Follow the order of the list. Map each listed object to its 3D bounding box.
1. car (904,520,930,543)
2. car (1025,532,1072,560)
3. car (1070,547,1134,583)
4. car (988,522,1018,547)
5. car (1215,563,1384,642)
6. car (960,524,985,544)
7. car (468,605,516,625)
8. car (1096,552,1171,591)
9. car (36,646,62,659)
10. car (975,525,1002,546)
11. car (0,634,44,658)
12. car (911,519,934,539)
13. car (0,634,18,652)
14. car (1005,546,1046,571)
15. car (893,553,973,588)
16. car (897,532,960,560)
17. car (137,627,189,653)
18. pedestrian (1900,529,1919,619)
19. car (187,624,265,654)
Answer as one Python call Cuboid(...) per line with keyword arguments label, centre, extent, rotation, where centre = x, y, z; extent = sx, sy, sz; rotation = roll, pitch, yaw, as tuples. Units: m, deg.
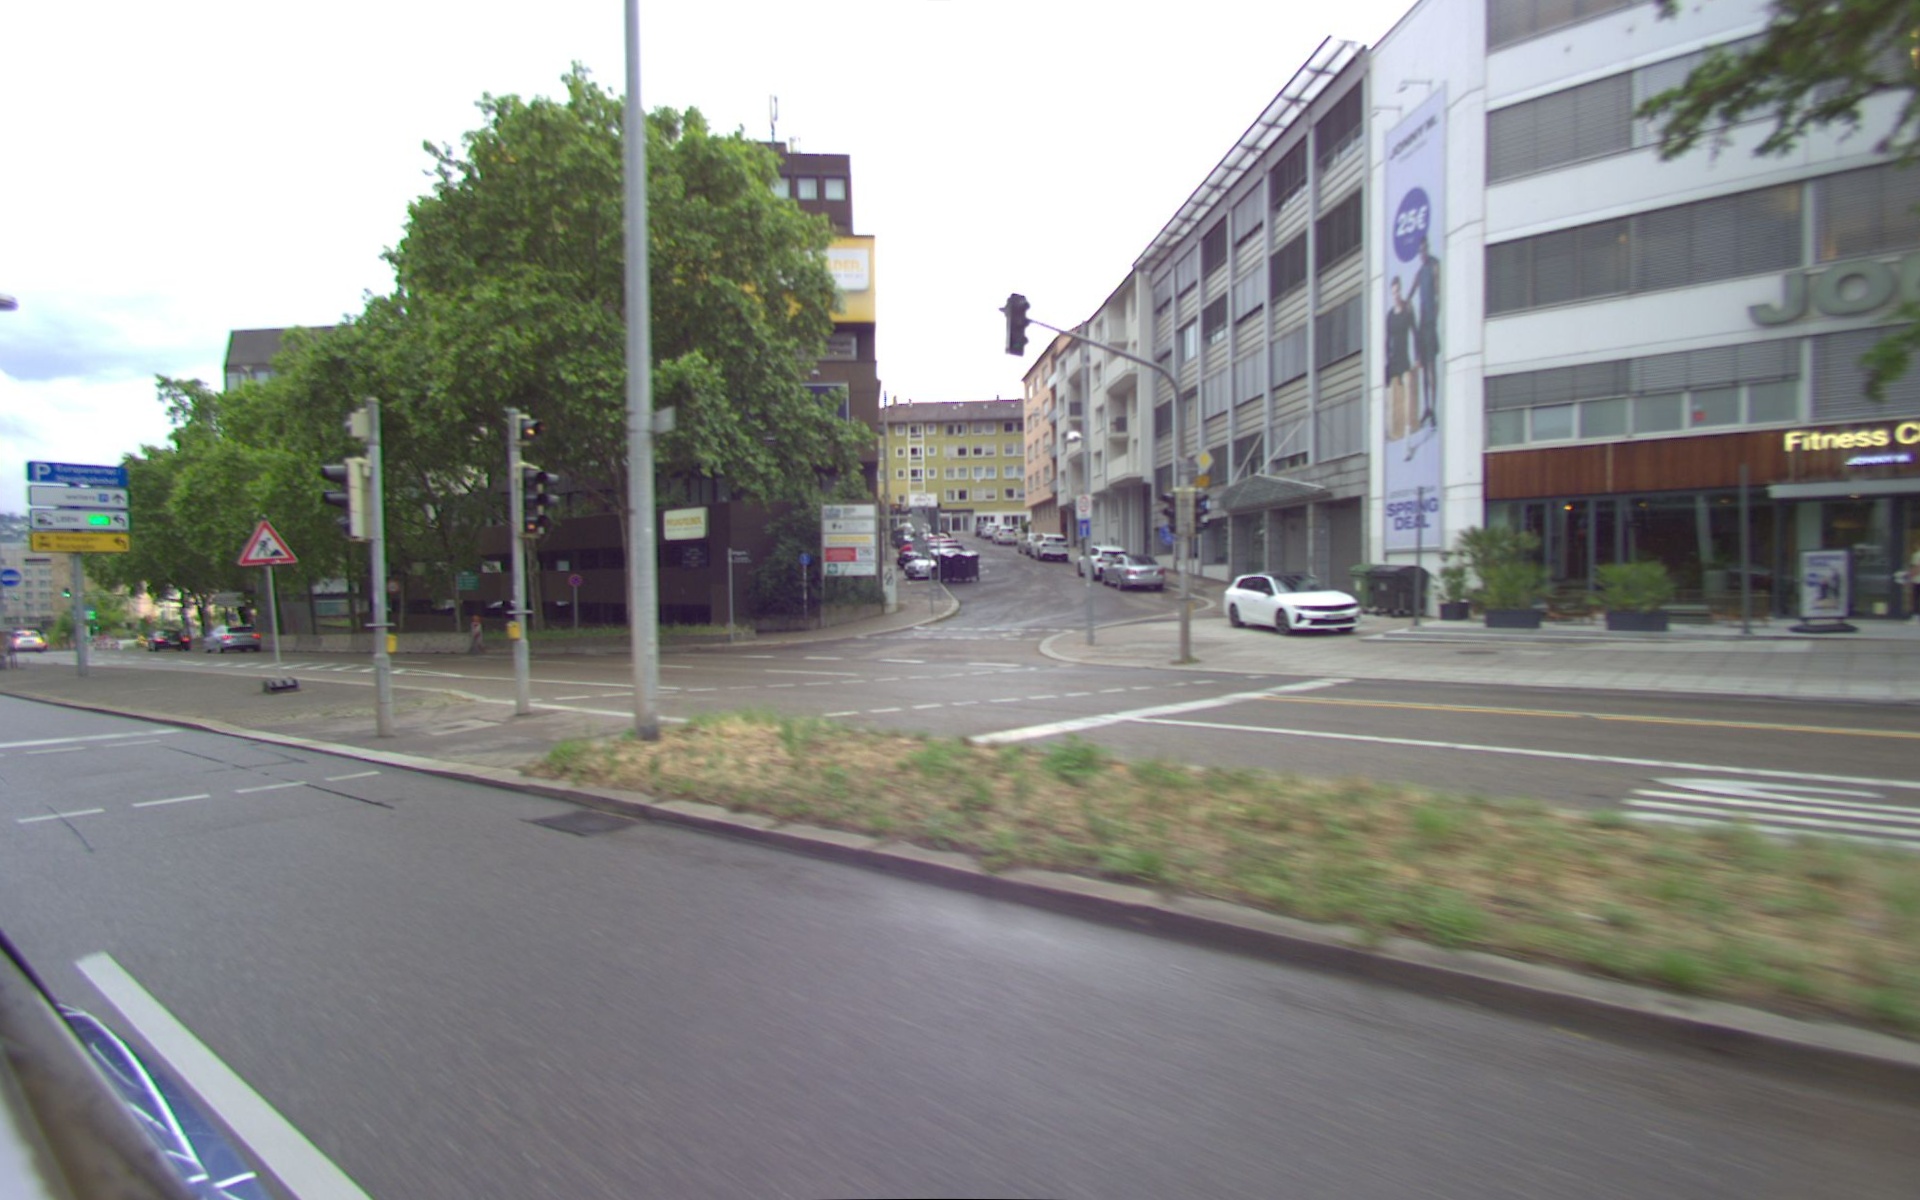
Cuboid(label="car", centre=(-3.366, -5.385, 79.094), extent=(1.793, 1.696, 4.006), rotation=(-1, 4, -5))
Cuboid(label="car", centre=(5.457, -3.348, 63.012), extent=(1.969, 1.586, 4.495), rotation=(-3, 3, -6))
Cuboid(label="car", centre=(6.840, -1.728, 49.278), extent=(1.969, 1.586, 4.495), rotation=(-3, 3, -6))
Cuboid(label="car", centre=(3.527, -5.430, 83.660), extent=(1.970, 2.028, 4.006), rotation=(-1, 4, -5))
Cuboid(label="car", centre=(8.335, -0.035, 25.401), extent=(1.968, 1.665, 4.854), rotation=(-3, 3, -9))
Cuboid(label="car", centre=(1.205, -6.363, 96.648), extent=(1.970, 1.829, 4.006), rotation=(-1, 4, -5))
Cuboid(label="car", centre=(-43.405, 1.416, 93.931), extent=(3.931, 1.730, 2.006), rotation=(-2, -1, -23))
Cuboid(label="car", centre=(7.400, -1.258, 43.610), extent=(1.969, 1.476, 4.495), rotation=(-3, 3, -6))
Cuboid(label="car", centre=(-109.584, 6.275, 121.763), extent=(4.506, 1.447, 1.912), rotation=(-3, -2, 43))
Cuboid(label="car", centre=(2.536, -5.888, 91.867), extent=(1.970, 1.829, 4.006), rotation=(-1, 4, -5))
Cuboid(label="car", centre=(-63.083, 3.051, 67.867), extent=(3.733, 1.530, 1.738), rotation=(-2, -1, 36))
Cuboid(label="car", centre=(-3.353, -6.273, 89.461), extent=(1.793, 1.696, 4.006), rotation=(-1, 4, -5))
Cuboid(label="car", centre=(-85.159, 3.814, 89.984), extent=(3.864, 1.497, 1.775), rotation=(-2, 0, 43))
Cuboid(label="car", centre=(4.462, -2.853, 69.348), extent=(1.969, 1.586, 4.495), rotation=(-3, 3, -6))
Cuboid(label="car", centre=(-1.395, -1.503, 51.833), extent=(3.940, 1.696, 1.822), rotation=(-2, 1, -4))
Cuboid(label="car", centre=(-2.057, -3.536, 65.537), extent=(3.940, 1.696, 1.823), rotation=(-1, 4, -4))
Cuboid(label="car", centre=(-49.154, 2.472, 62.383), extent=(4.167, 1.530, 1.736), rotation=(-2, -1, 40))
Cuboid(label="pedestrian", centre=(17.997, -0.491, 18.724), extent=(0.841, 1.653, 0.760), rotation=(-2, -1, 42))
Cuboid(label="car", centre=(-38.003, 2.014, 52.346), extent=(4.873, 1.458, 1.975), rotation=(-2, -1, 37))
